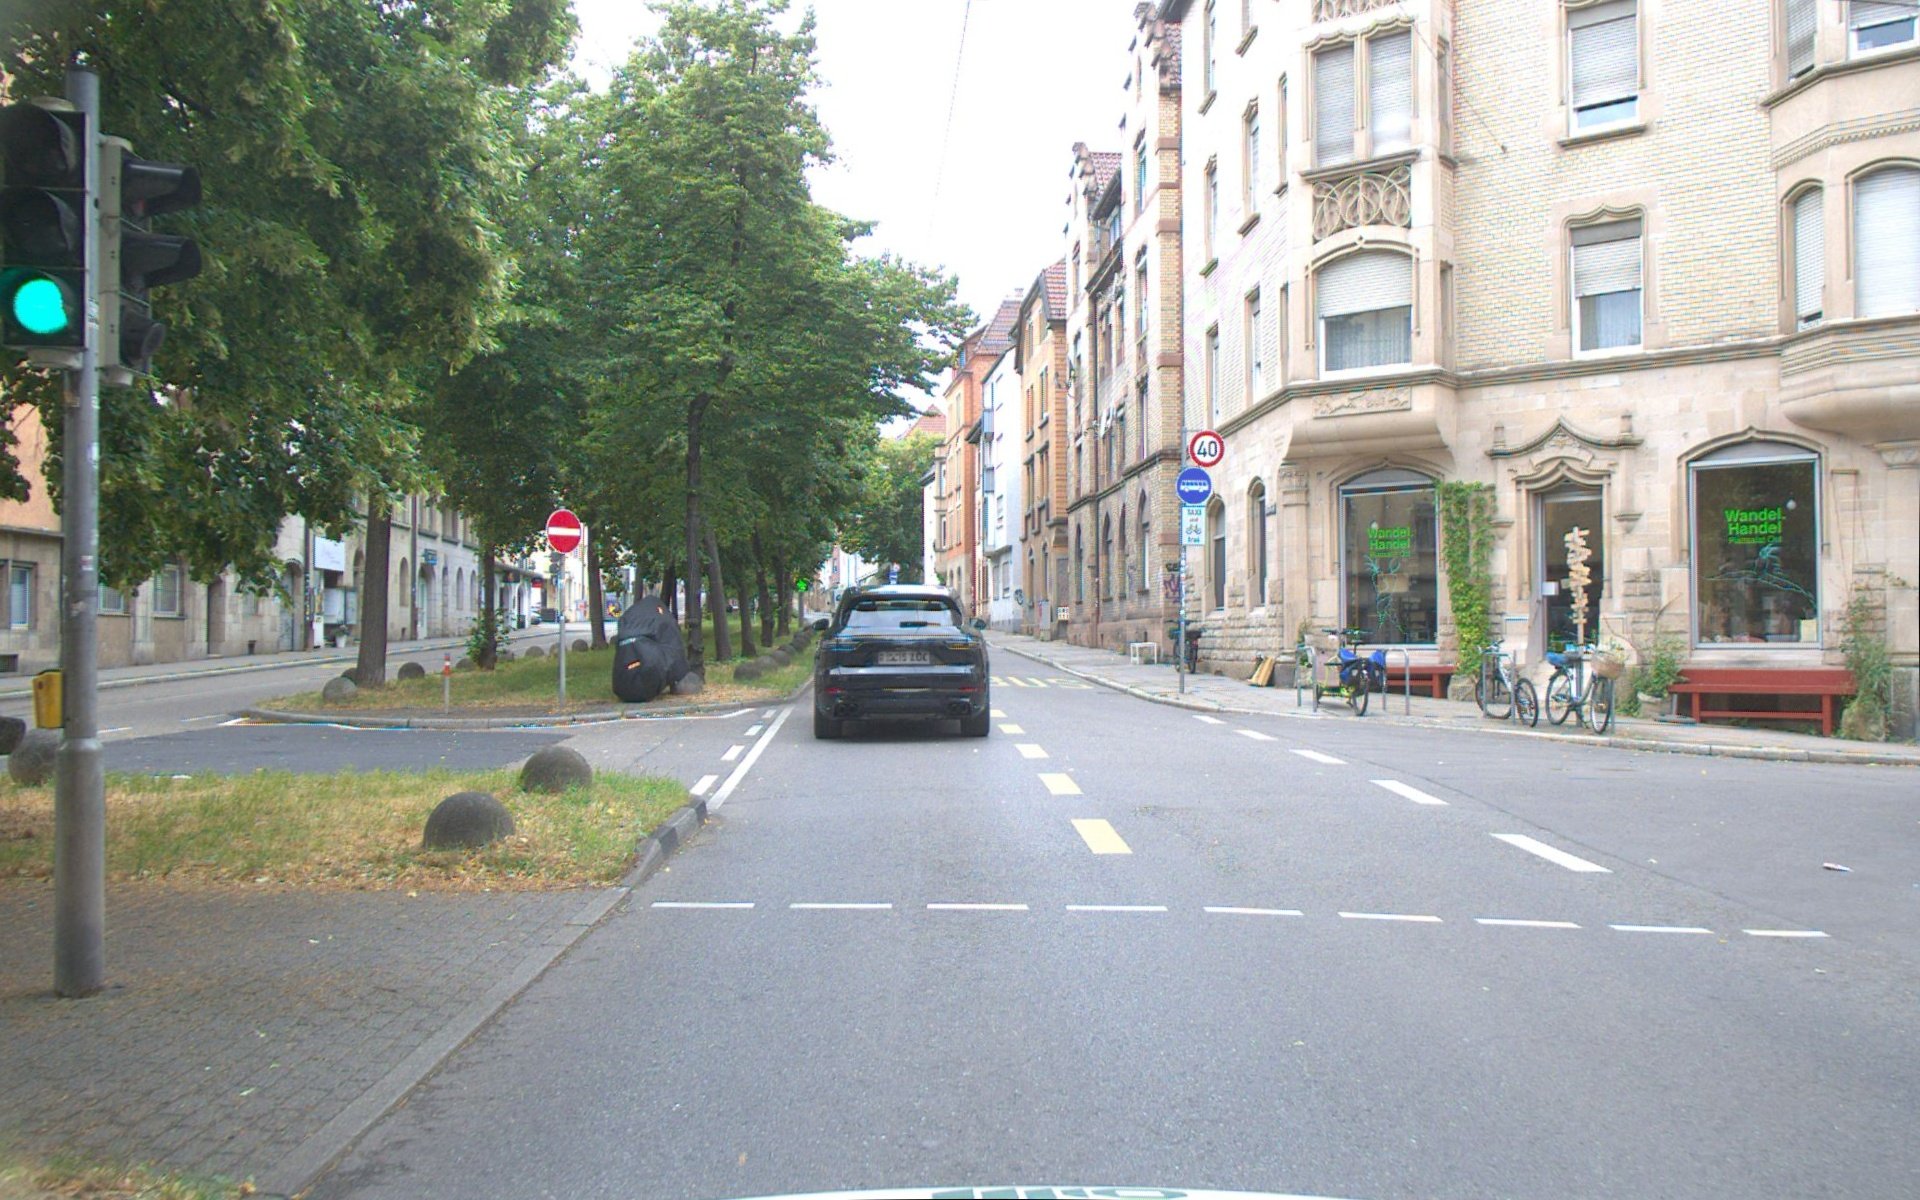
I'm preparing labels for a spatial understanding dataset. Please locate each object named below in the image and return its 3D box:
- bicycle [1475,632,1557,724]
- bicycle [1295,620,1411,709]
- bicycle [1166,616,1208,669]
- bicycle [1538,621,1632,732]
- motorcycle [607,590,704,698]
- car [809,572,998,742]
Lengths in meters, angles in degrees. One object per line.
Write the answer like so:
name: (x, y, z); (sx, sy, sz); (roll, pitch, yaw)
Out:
bicycle: (7.278, 1.000, 21.717); (0.342, 1.077, 1.833); (3, 1, -2)
bicycle: (5.486, 0.875, 23.303); (0.861, 1.149, 2.978); (0, 0, -1)
bicycle: (4.717, 0.876, 34.467); (0.437, 1.055, 2.247); (-1, -1, -3)
bicycle: (8.051, 0.954, 21.367); (0.437, 1.181, 1.834); (-1, 5, -2)
motorcycle: (-4.405, 0.613, 24.116); (0.999, 1.471, 2.246); (-2, 0, -1)
car: (-0.723, 0.573, 19.343); (1.954, 1.694, 3.997); (1, 2, -4)
